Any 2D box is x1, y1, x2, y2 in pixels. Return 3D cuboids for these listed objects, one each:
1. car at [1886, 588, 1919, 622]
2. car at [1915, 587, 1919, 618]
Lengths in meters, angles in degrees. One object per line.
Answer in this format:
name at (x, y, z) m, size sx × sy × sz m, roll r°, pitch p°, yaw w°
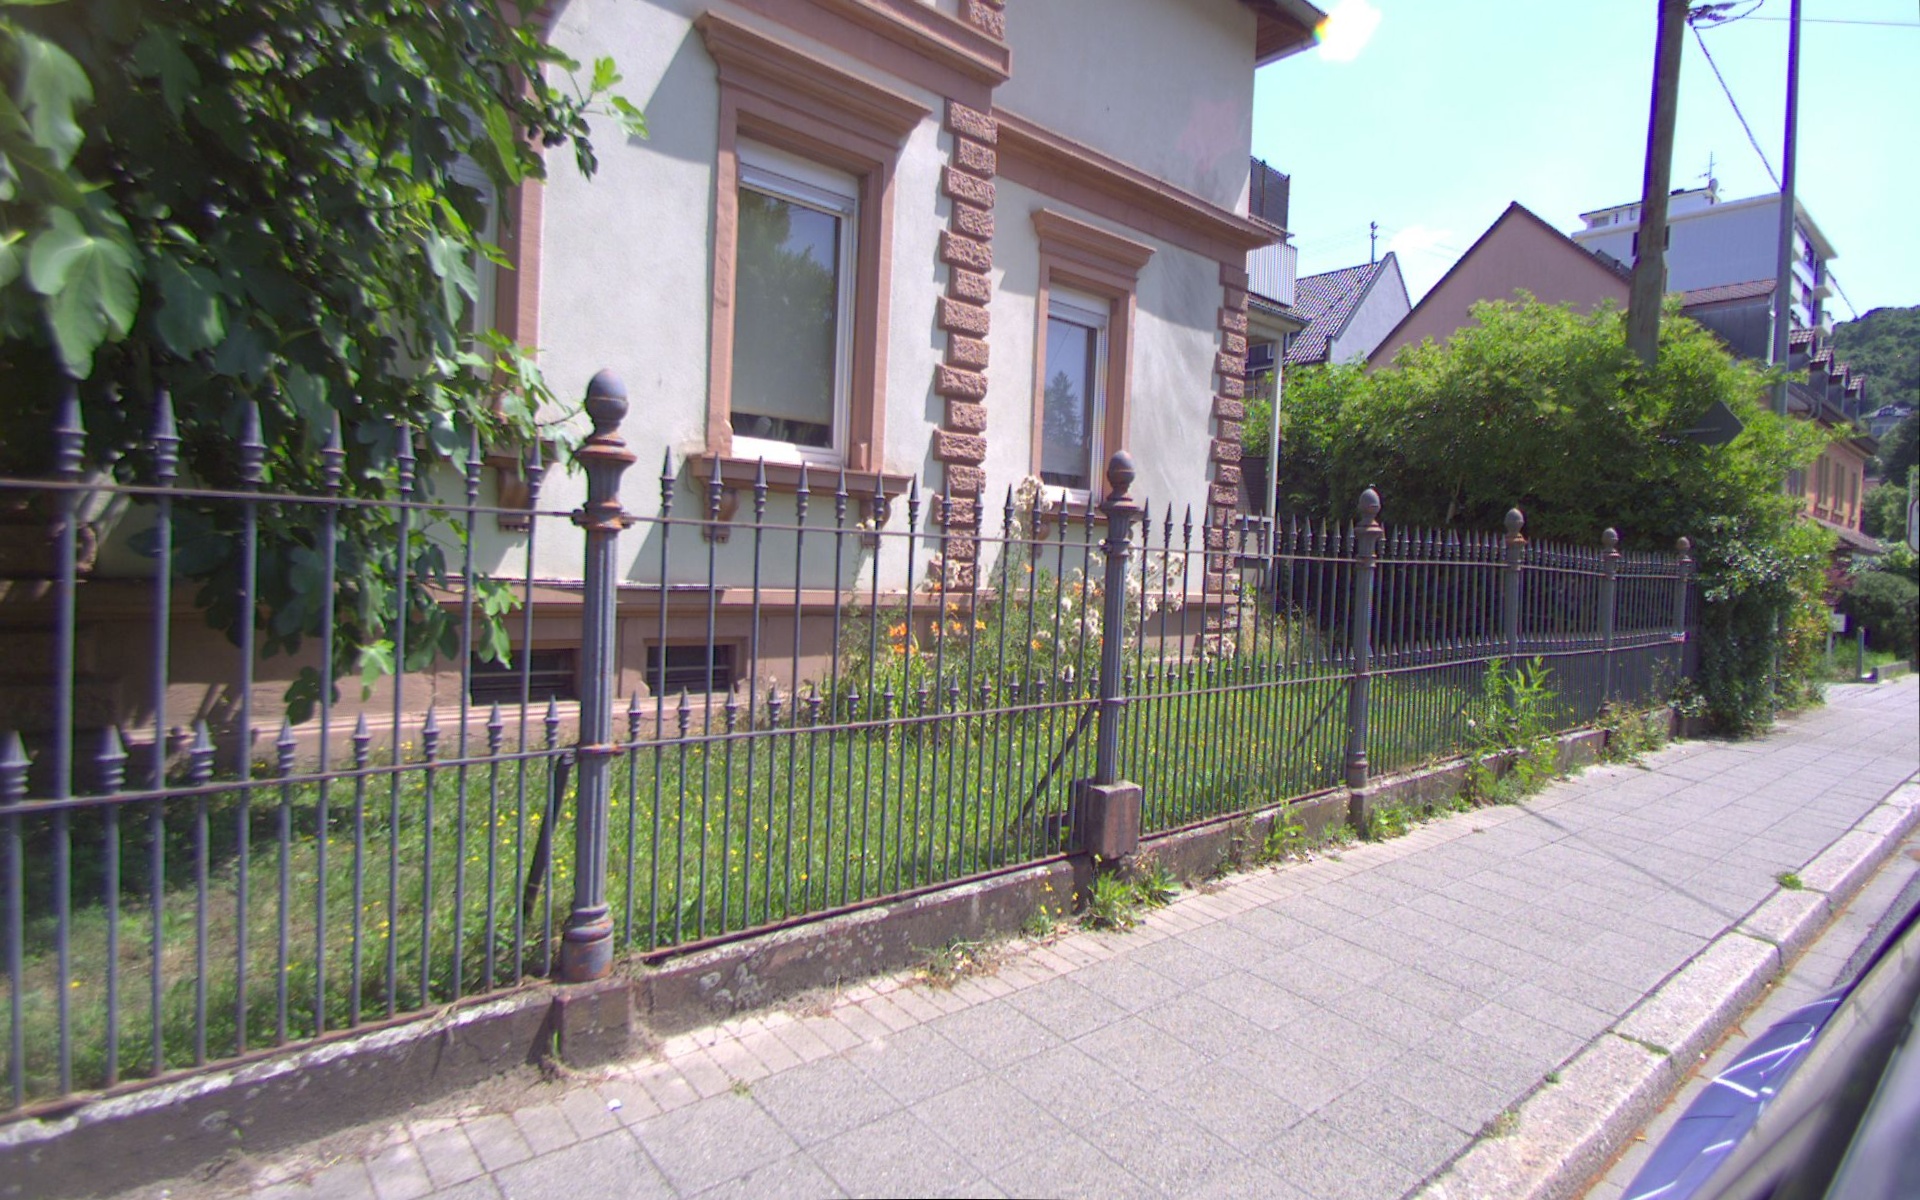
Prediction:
car at (48.039, 0.287, 49.478) m, size 3.868 × 1.561 × 1.818 m, roll 4°, pitch 3°, yaw 37°
car at (58.720, 0.198, 59.104) m, size 1.788 × 1.812 × 4.292 m, roll 0°, pitch 2°, yaw -1°
